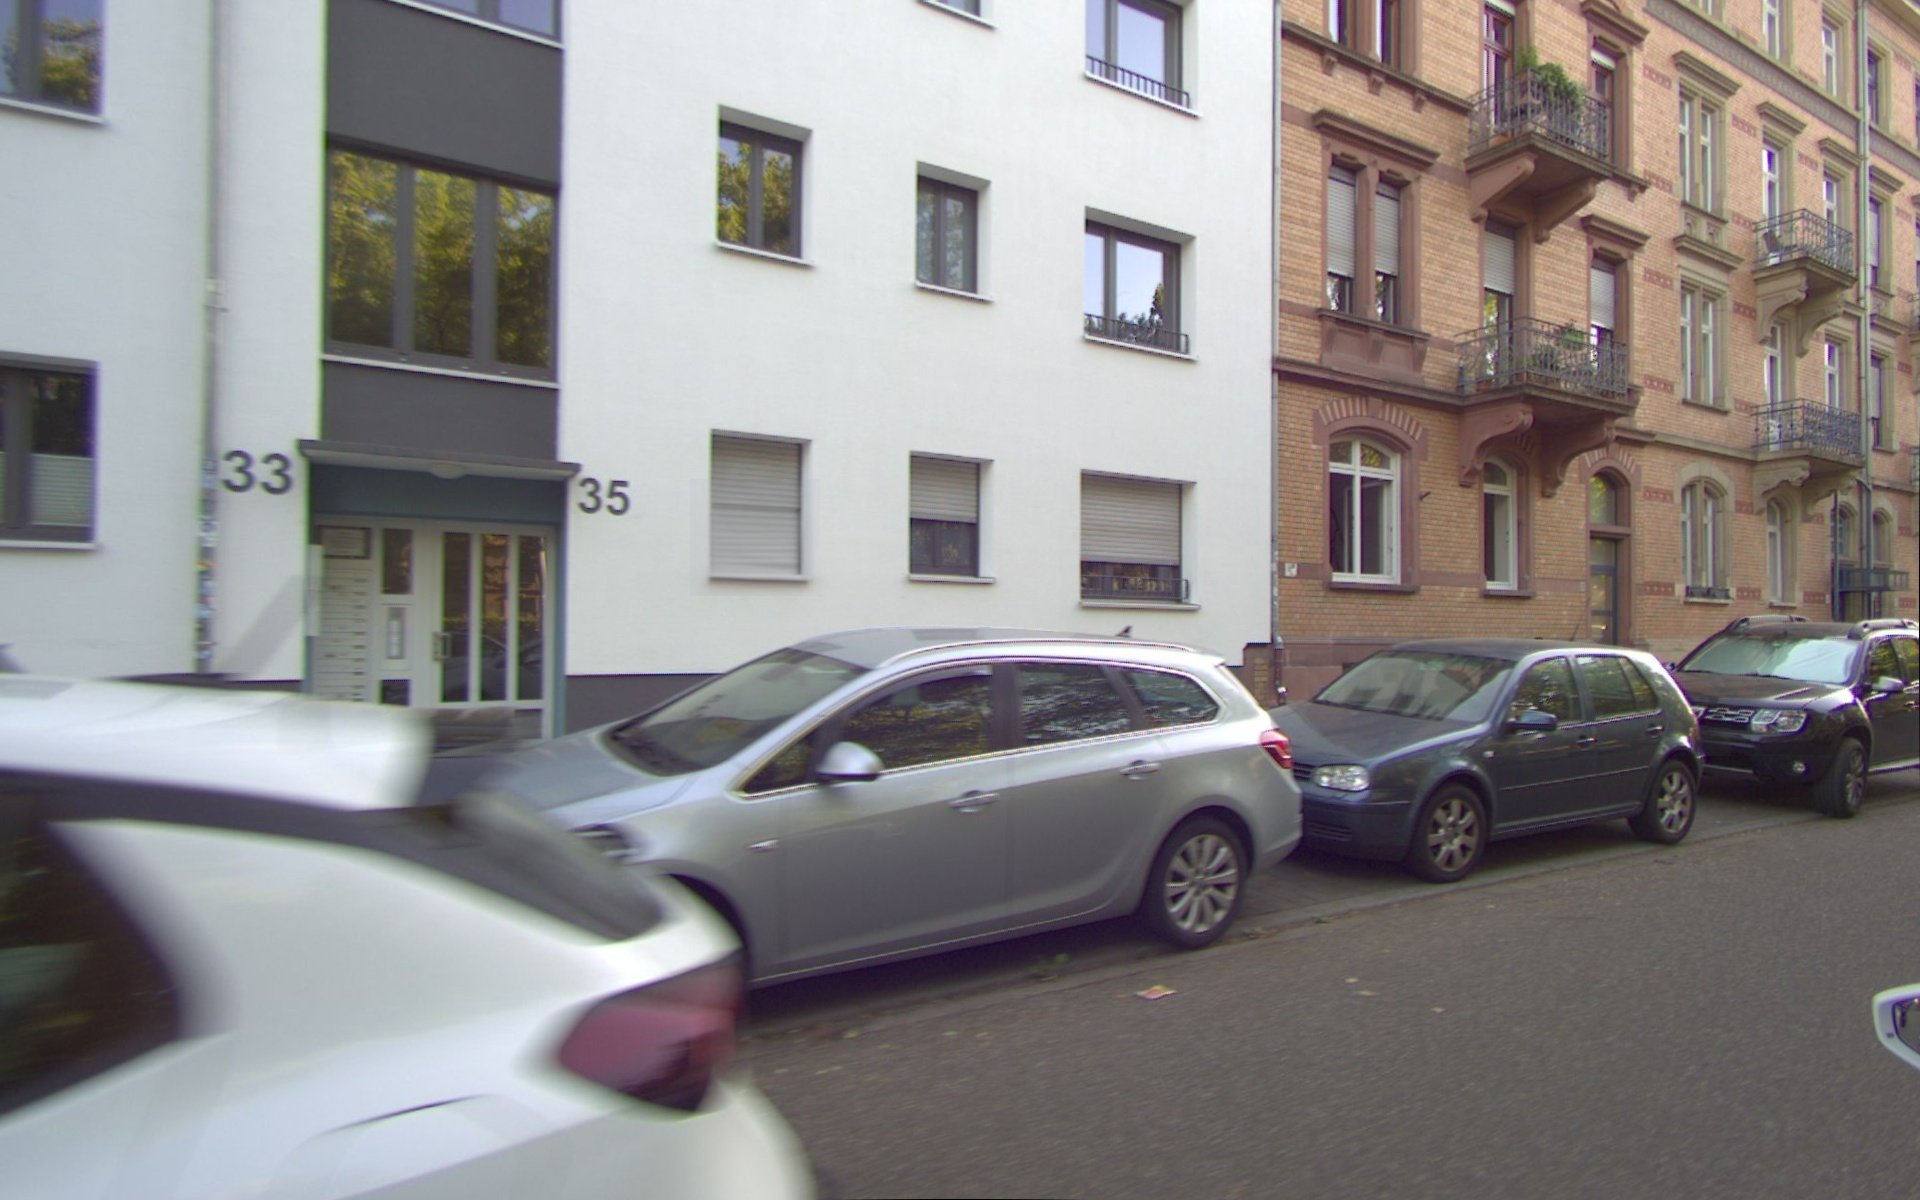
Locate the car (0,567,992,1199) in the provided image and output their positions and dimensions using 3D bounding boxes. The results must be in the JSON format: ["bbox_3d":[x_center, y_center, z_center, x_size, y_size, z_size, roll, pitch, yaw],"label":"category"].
[{"bbox_3d":[-2.037,0.745,1.012,3.960,1.449,1.658,1,-4,-35],"label":"car"}]

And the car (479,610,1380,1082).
[{"bbox_3d":[-0.022,0.863,5.055,4.232,1.491,1.661,1,1,-29],"label":"car"}]

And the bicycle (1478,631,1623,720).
[{"bbox_3d":[8.928,1.102,15.145,2.483,1.223,0.733,0,0,-29],"label":"bicycle"}]

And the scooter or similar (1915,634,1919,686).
[{"bbox_3d":[24.182,1.507,24.349,2.672,1.238,0.780,3,-2,-30],"label":"scooter or similar"}]

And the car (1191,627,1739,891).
[{"bbox_3d":[3.782,0.969,7.414,3.949,1.471,1.609,1,0,-28],"label":"car"}]

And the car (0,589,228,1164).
[{"bbox_3d":[-4.463,0.718,2.600,3.953,1.528,1.660,1,1,-30],"label":"car"}]

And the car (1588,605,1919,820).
[{"bbox_3d":[8.205,0.950,9.867,4.151,1.728,1.743,1,-1,-30],"label":"car"}]
